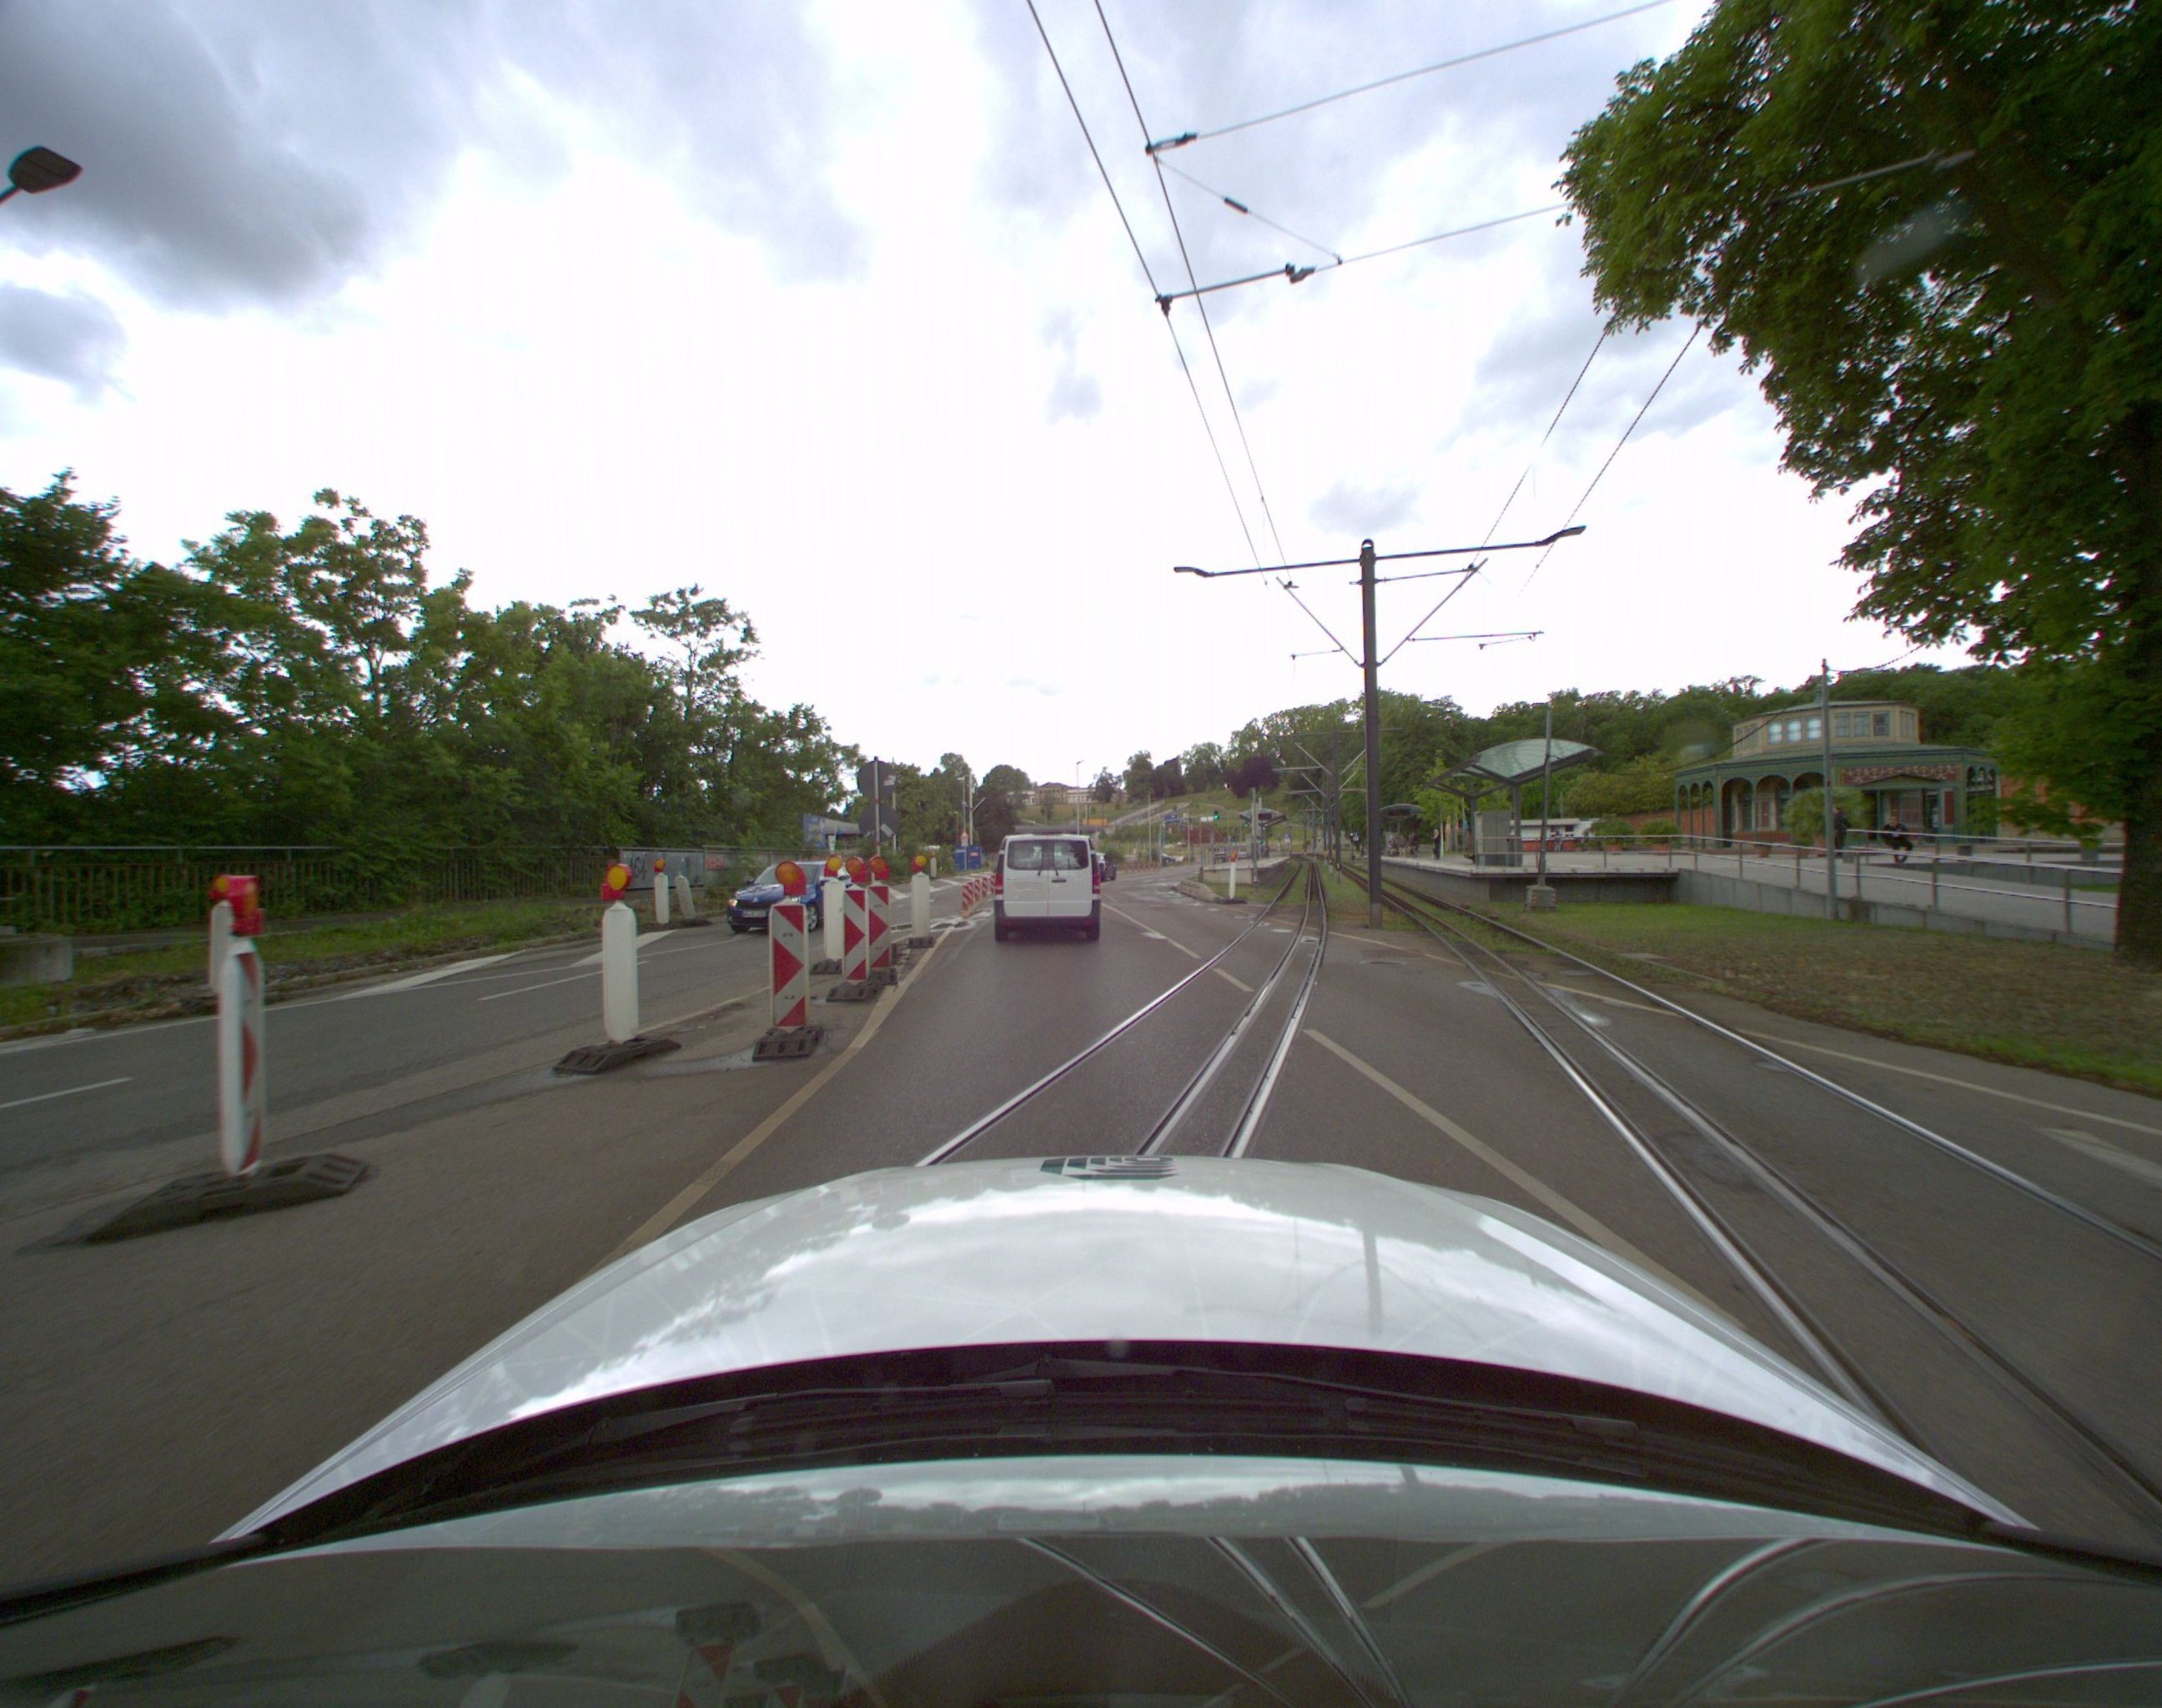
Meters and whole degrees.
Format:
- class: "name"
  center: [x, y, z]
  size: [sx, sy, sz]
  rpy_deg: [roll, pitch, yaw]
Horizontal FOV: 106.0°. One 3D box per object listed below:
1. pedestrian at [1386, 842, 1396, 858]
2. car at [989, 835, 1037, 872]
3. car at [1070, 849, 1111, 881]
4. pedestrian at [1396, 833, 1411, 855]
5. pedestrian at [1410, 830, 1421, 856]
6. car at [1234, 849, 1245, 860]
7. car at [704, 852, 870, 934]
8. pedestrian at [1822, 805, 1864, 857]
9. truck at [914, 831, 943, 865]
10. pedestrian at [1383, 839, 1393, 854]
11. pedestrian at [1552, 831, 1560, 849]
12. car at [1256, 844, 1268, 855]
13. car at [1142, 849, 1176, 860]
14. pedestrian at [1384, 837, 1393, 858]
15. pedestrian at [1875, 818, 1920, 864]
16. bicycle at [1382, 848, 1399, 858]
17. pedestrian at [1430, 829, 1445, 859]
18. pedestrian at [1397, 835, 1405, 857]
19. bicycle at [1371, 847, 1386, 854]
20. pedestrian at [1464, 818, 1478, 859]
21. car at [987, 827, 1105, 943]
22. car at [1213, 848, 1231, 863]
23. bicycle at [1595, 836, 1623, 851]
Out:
- class: "pedestrian"
  center: [23.947, -0.288, 62.960]
  size: [0.652, 1.191, 0.679]
  rpy_deg: [1, 0, 17]
- class: "car"
  center: [-3.567, -0.077, 43.418]
  size: [1.856, 1.782, 4.752]
  rpy_deg: [-1, 1, 3]
- class: "car"
  center: [0.532, 0.524, 42.006]
  size: [1.830, 1.582, 4.067]
  rpy_deg: [1, 0, 4]
- class: "pedestrian"
  center: [24.733, -0.749, 62.401]
  size: [0.856, 1.677, 0.763]
  rpy_deg: [1, 0, 5]
- class: "pedestrian"
  center: [23.890, -0.796, 58.210]
  size: [0.628, 1.838, 0.954]
  rpy_deg: [1, 0, 17]
- class: "car"
  center: [26.496, 0.140, 136.295]
  size: [1.741, 1.772, 4.013]
  rpy_deg: [1, 0, 11]
- class: "car"
  center: [-6.205, 0.754, 17.719]
  size: [1.685, 1.461, 3.922]
  rpy_deg: [-2, 1, 8]
- class: "pedestrian"
  center: [27.624, -0.828, 29.529]
  size: [0.550, 1.838, 0.945]
  rpy_deg: [1, 0, -22]
- class: "truck"
  center: [-16.427, -0.610, 87.380]
  size: [2.794, 3.335, 8.444]
  rpy_deg: [-3, 1, -12]
- class: "pedestrian"
  center: [27.107, -0.645, 71.974]
  size: [0.668, 1.323, 0.972]
  rpy_deg: [1, 0, 14]
- class: "pedestrian"
  center: [39.300, -1.173, 67.377]
  size: [0.481, 1.487, 0.462]
  rpy_deg: [1, 0, 18]
- class: "car"
  center: [33.349, -0.902, 150.127]
  size: [2.186, 2.013, 5.167]
  rpy_deg: [0, 0, 11]
- class: "car"
  center: [11.966, 0.078, 124.764]
  size: [4.666, 1.477, 2.012]
  rpy_deg: [-2, 1, 26]
- class: "pedestrian"
  center: [25.122, -0.557, 66.523]
  size: [0.540, 1.677, 0.678]
  rpy_deg: [1, 0, 12]
- class: "pedestrian"
  center: [21.810, -0.355, 21.770]
  size: [0.545, 1.201, 0.671]
  rpy_deg: [1, 0, 9]
- class: "bicycle"
  center: [35.195, -0.097, 92.703]
  size: [1.750, 1.033, 0.485]
  rpy_deg: [1, 0, 16]
- class: "pedestrian"
  center: [20.510, -0.593, 46.889]
  size: [0.628, 1.687, 0.870]
  rpy_deg: [1, 0, 15]
- class: "pedestrian"
  center: [24.030, -0.628, 61.135]
  size: [0.520, 1.620, 0.679]
  rpy_deg: [1, 0, 17]
- class: "bicycle"
  center: [41.078, -0.433, 112.445]
  size: [1.897, 0.895, 0.533]
  rpy_deg: [-2, 0, 16]
- class: "pedestrian"
  center: [15.987, -0.650, 33.408]
  size: [0.481, 1.660, 0.631]
  rpy_deg: [1, 0, 24]
- class: "car"
  center: [-0.538, 0.497, 15.615]
  size: [1.952, 1.903, 4.462]
  rpy_deg: [0, 0, 1]
- class: "car"
  center: [17.062, 0.169, 98.641]
  size: [1.981, 1.772, 4.013]
  rpy_deg: [1, 0, 11]
- class: "bicycle"
  center: [37.521, -0.760, 57.923]
  size: [0.563, 1.061, 1.707]
  rpy_deg: [1, 0, -15]
